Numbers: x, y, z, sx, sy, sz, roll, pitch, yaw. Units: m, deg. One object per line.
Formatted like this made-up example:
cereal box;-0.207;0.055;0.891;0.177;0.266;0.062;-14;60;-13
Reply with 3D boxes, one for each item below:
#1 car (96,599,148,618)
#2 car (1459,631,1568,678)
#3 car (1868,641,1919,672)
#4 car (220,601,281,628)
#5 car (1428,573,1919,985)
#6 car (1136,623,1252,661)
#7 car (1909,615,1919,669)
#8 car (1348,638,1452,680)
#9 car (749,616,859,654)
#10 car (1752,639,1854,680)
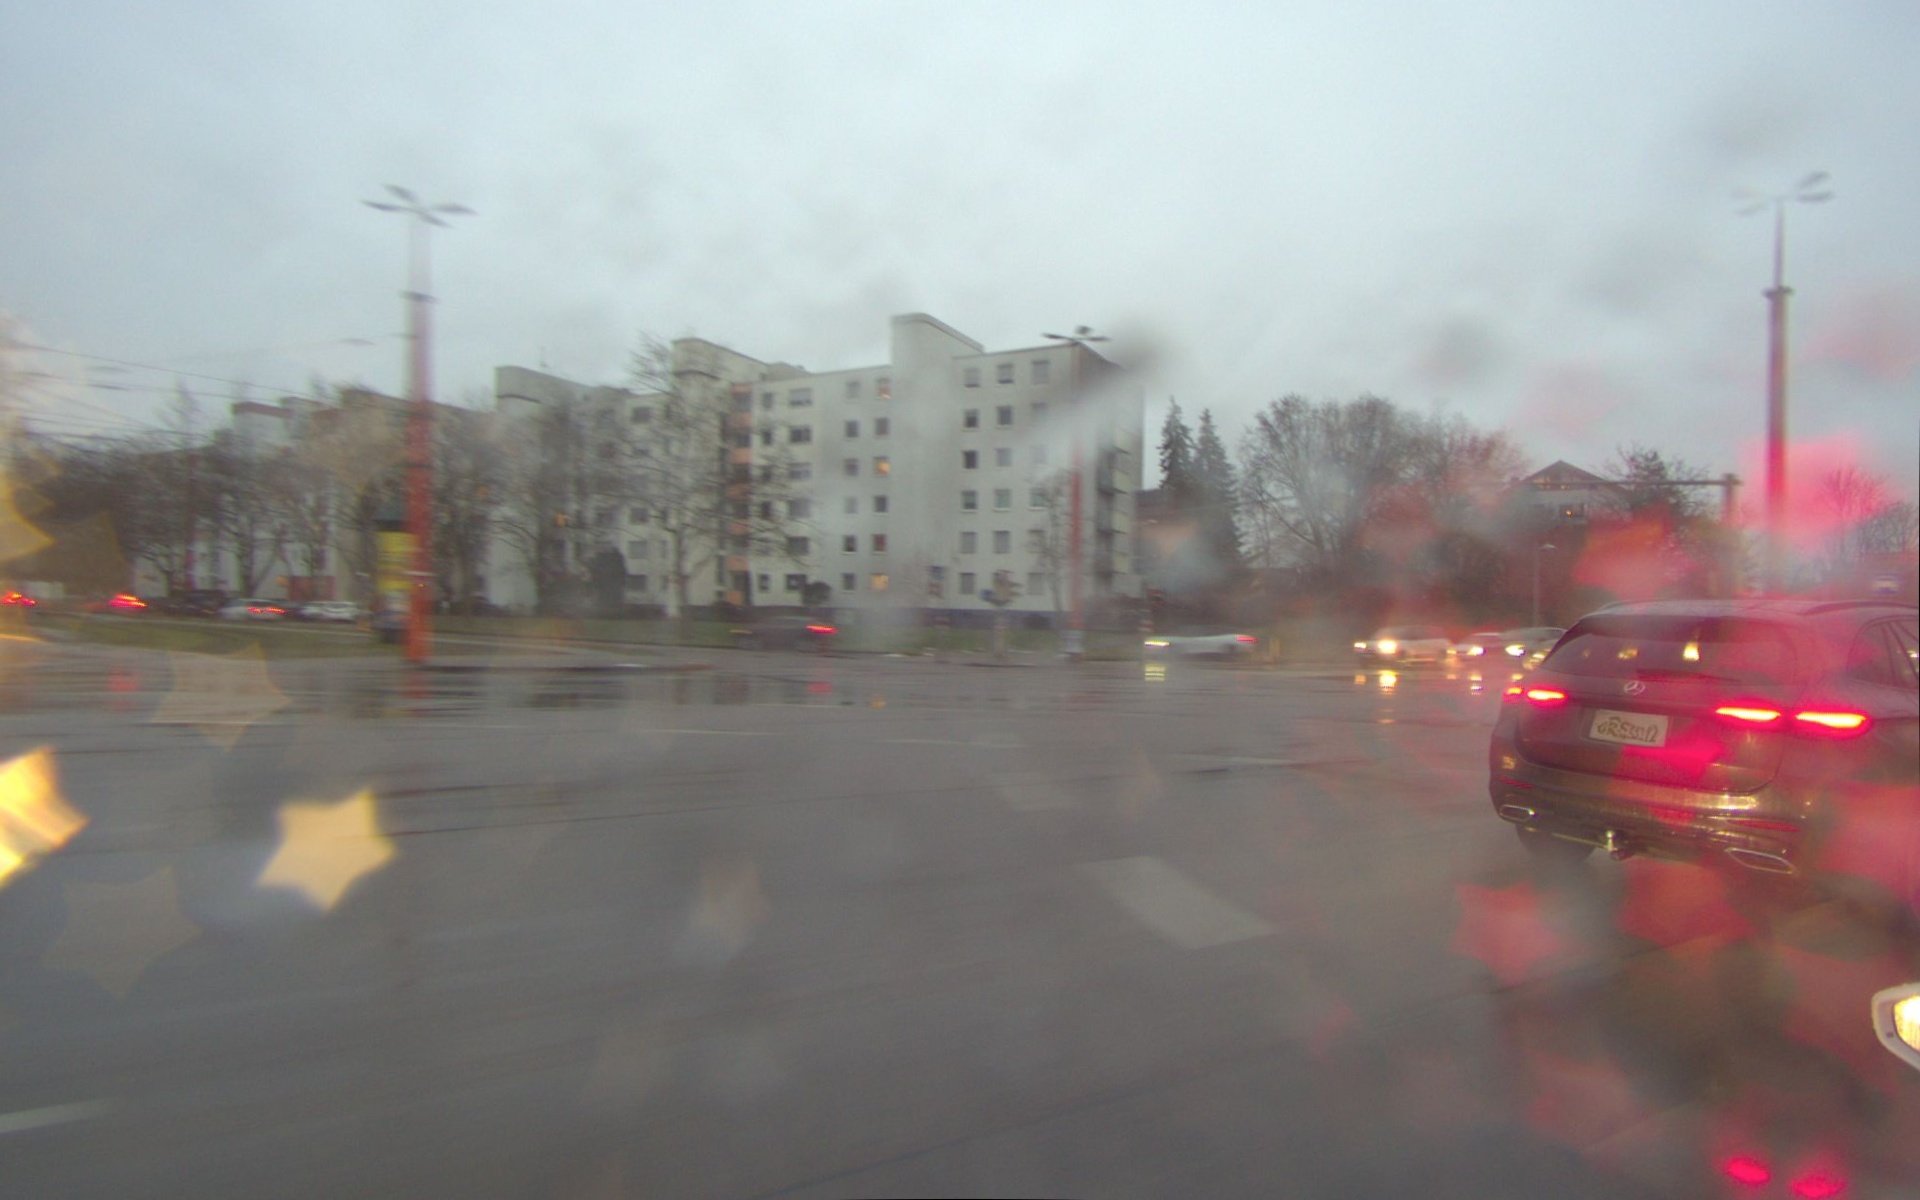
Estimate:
car;-64.764;0.626;77.637;3.928;1.405;1.774;0;-1;29
car;20.267;1.970;36.750;3.901;1.574;1.761;2;-1;-31
car;50.736;3.014;53.813;4.391;1.557;1.762;1;-1;-29
car;-44.887;0.905;63.517;3.926;1.661;1.535;0;-1;28
car;5.013;0.797;5.956;4.412;1.670;1.814;2;-1;-29
car;10.129;1.813;43.703;4.513;1.550;1.998;1;-1;-7
car;58.344;2.575;58.492;7.256;3.044;2.282;3;0;-28
car;16.845;2.224;38.381;3.969;1.515;1.611;1;-1;-30
car;-6.849;1.548;44.385;4.393;1.550;2.001;1;-1;9
car;33.900;2.364;40.373;4.472;1.553;1.761;2;-1;-30
